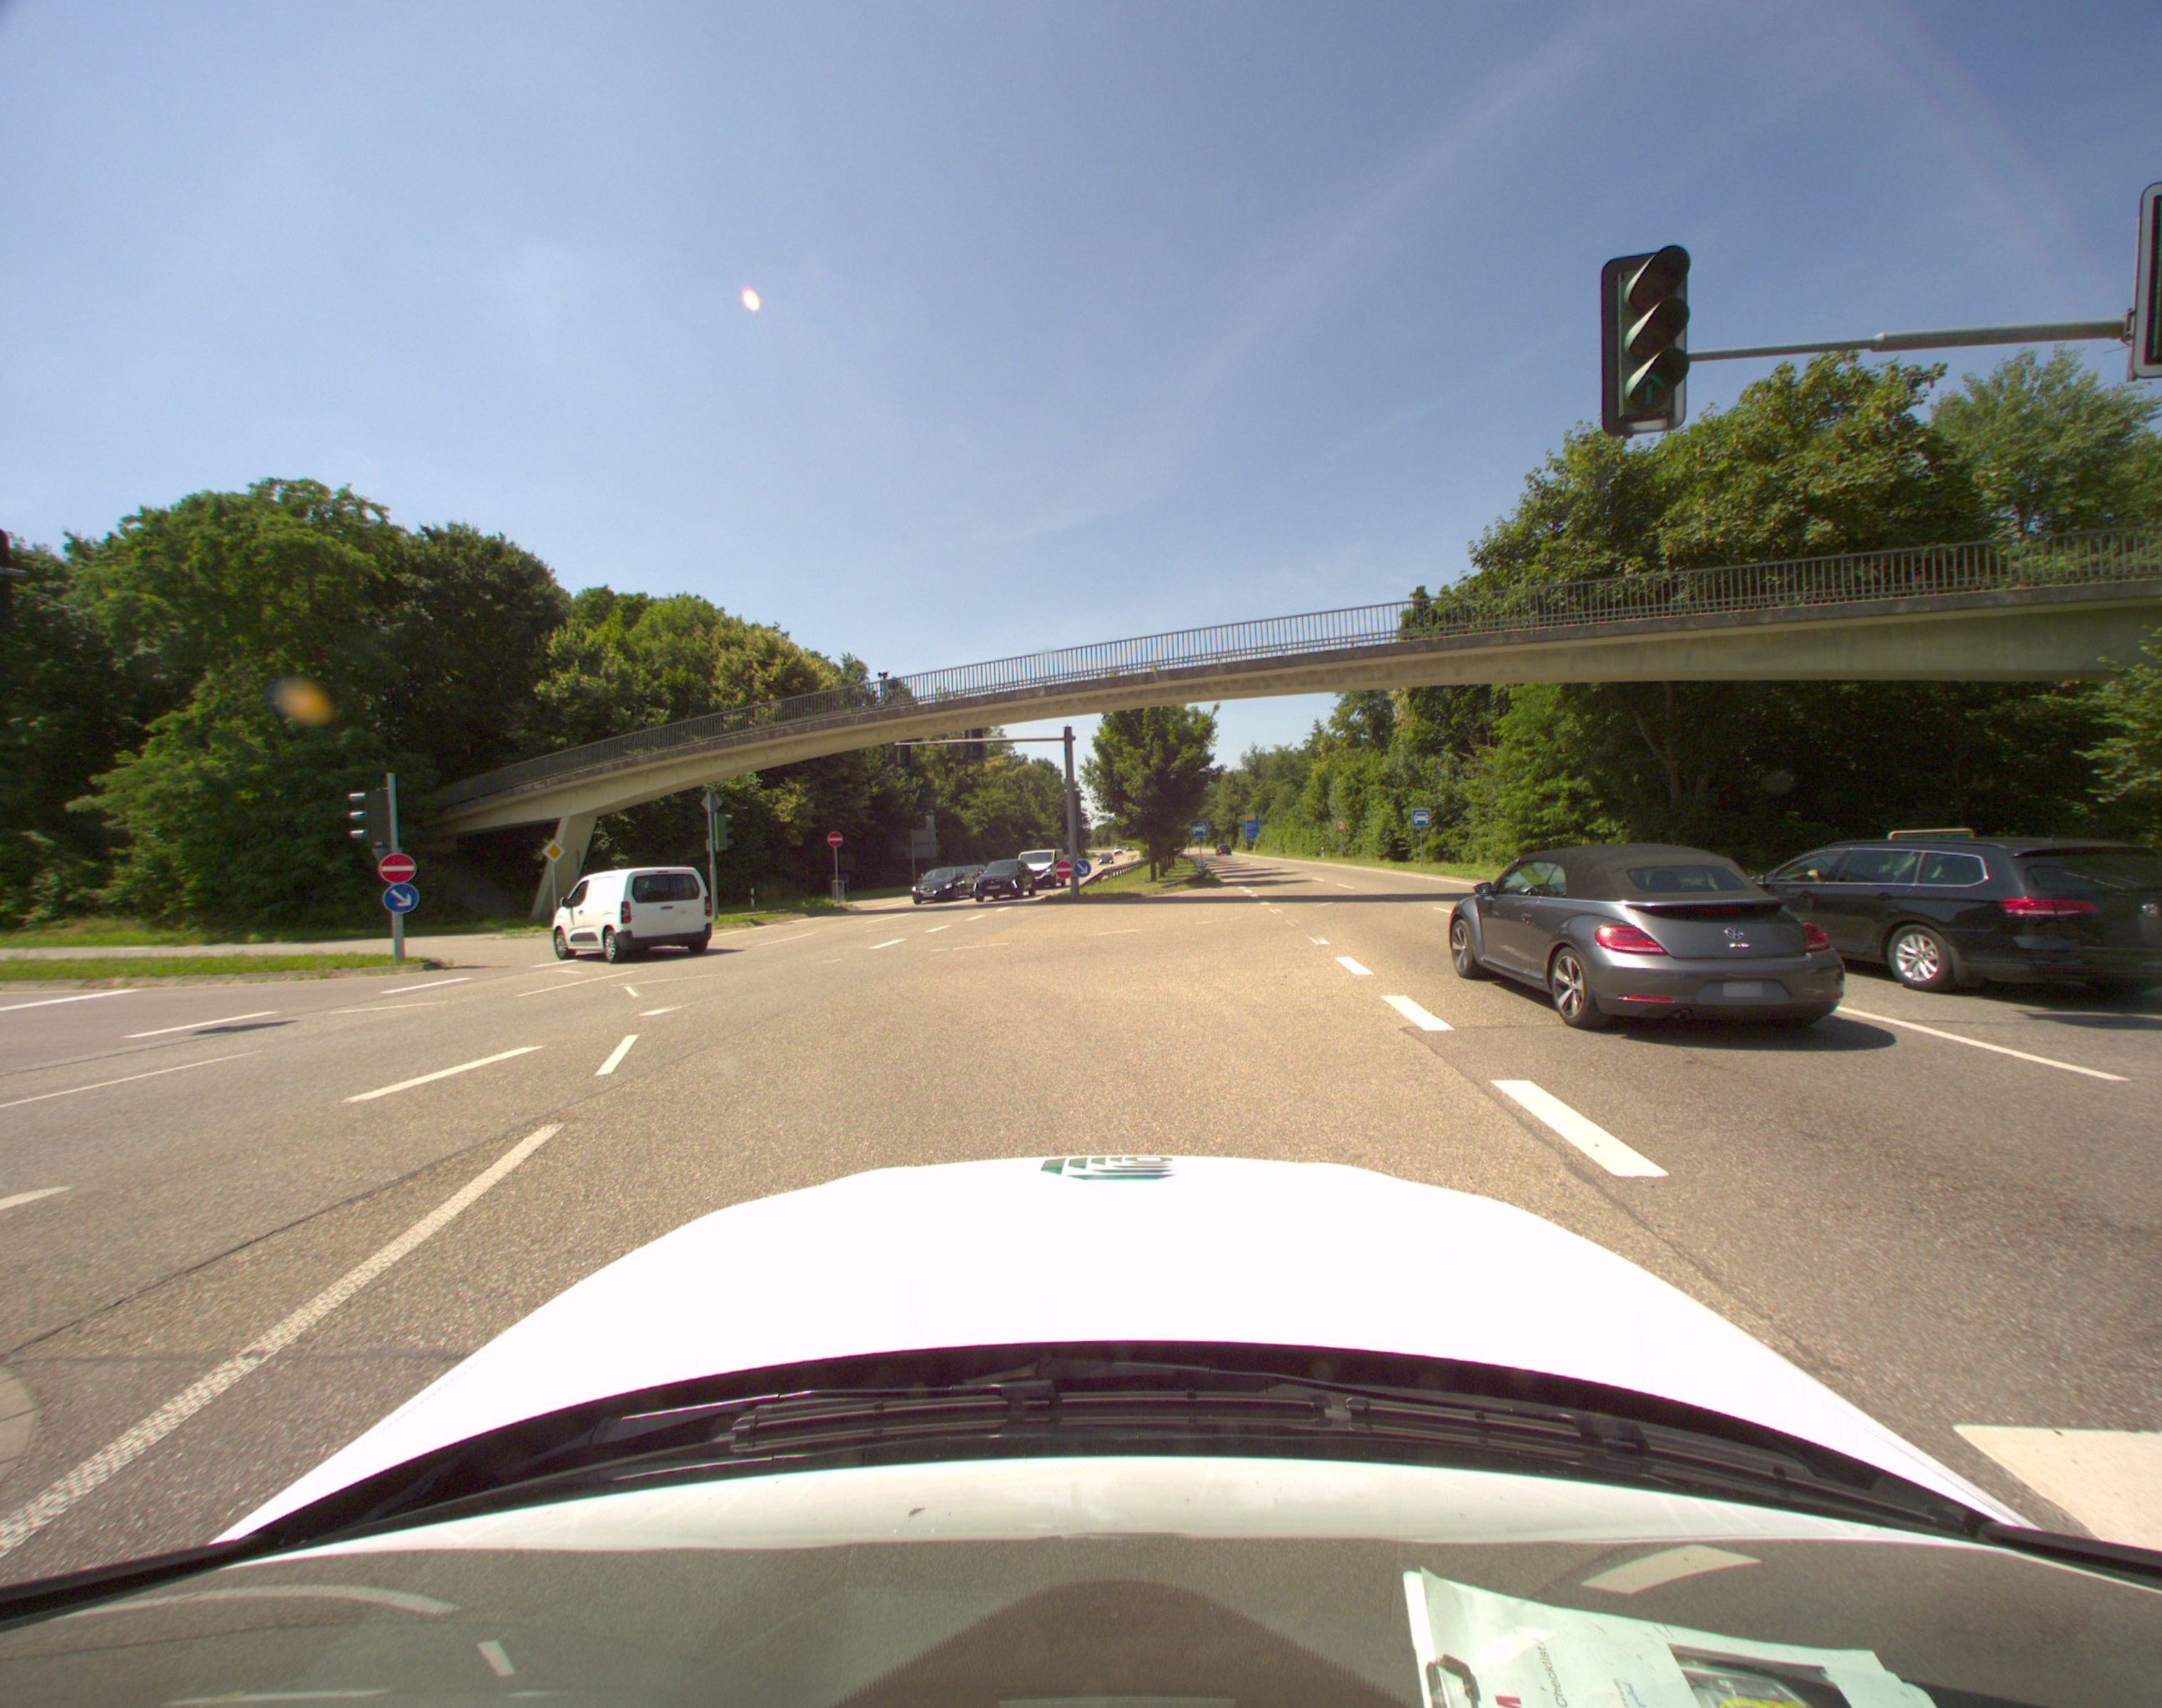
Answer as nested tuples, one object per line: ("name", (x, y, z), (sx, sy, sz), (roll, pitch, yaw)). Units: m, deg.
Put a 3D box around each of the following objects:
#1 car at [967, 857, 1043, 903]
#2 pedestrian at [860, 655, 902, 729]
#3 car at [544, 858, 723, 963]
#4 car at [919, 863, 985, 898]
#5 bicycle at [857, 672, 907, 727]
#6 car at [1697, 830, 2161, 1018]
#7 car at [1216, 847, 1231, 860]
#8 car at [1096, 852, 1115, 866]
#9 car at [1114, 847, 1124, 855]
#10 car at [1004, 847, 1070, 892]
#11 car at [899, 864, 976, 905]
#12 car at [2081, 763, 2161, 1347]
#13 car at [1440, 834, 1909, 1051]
("car", (-2.892, 0.950, 31.789), (1.982, 1.523, 4.036), (-4, 0, 8))
("pedestrian", (-6.483, -5.227, 26.435), (0.775, 2.140, 0.937), (-5, -2, 23))
("car", (-9.305, 1.189, 16.814), (3.929, 1.825, 1.867), (-6, -1, 40))
("car", (-6.236, 1.268, 39.819), (1.997, 1.460, 4.064), (-4, 0, 8))
("bicycle", (-6.396, -4.951, 26.141), (1.513, 1.474, 0.472), (-5, -2, 23))
("car", (8.858, 0.534, 8.555), (1.890, 1.477, 4.390), (-1, 0, 8))
("car", (21.208, -0.111, 121.021), (2.029, 1.699, 5.101), (-3, 0, 10))
("car", (3.209, 0.627, 106.532), (1.997, 1.601, 4.064), (-4, 0, 8))
("car", (8.817, -0.733, 189.680), (1.986, 1.750, 4.001), (-5, -1, 2))
("car", (-2.106, 0.723, 41.114), (2.196, 1.993, 5.500), (-4, 0, 8))
("car", (-6.015, 1.255, 34.701), (1.997, 1.460, 4.064), (-4, 0, 8))
("car", (3.724, 0.564, 0.128), (1.890, 1.644, 4.529), (-1, 0, 7))
("car", (4.950, 0.606, 7.613), (1.890, 1.477, 3.948), (-1, 0, 8))
